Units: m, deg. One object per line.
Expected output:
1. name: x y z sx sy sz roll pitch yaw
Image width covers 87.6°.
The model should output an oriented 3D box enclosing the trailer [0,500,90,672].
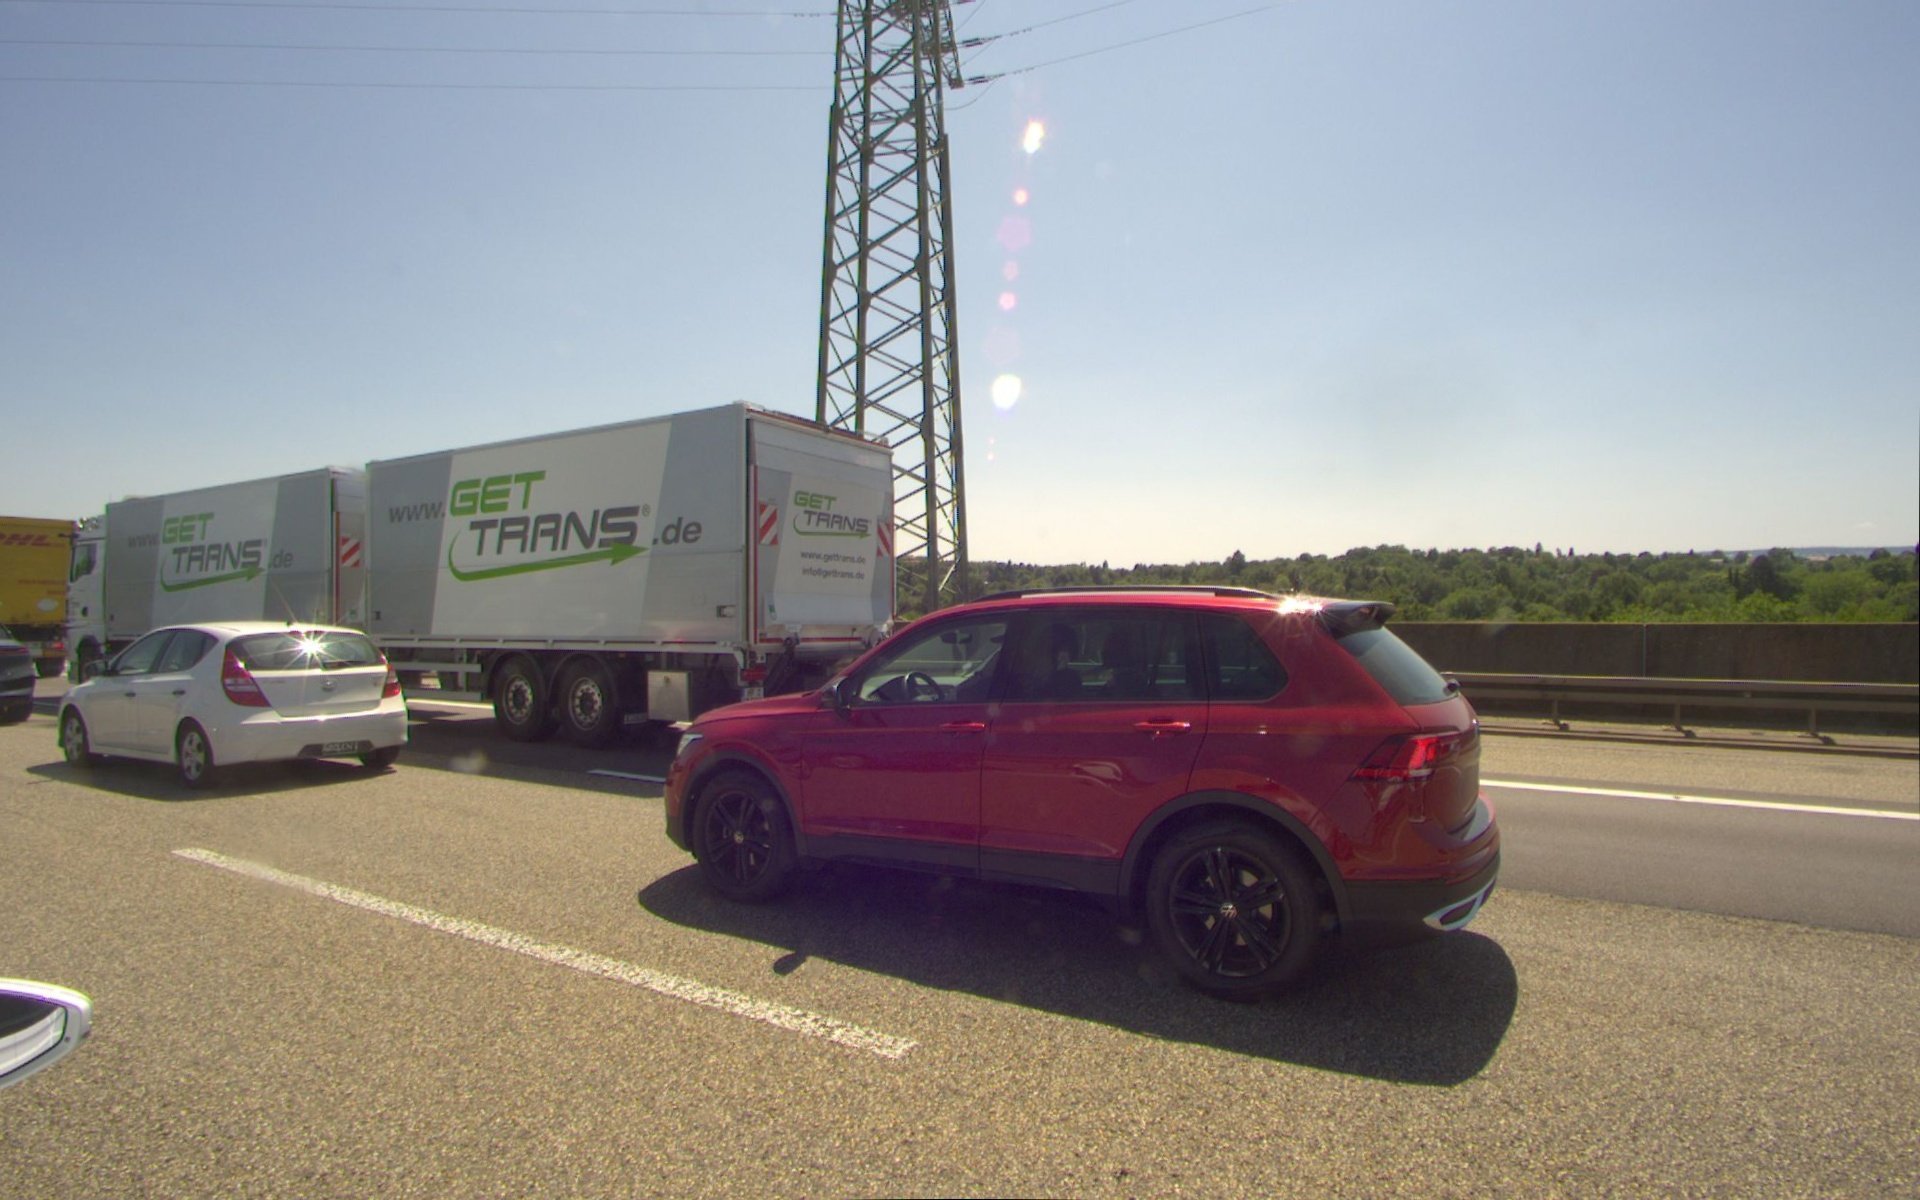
1. trailer: -27.536 -0.265 27.651 8.883 4.293 2.860 -1 -1 32

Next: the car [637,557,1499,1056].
1. car: 0.414 0.732 5.246 4.163 1.683 1.772 -1 -1 32

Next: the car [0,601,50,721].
1. car: -15.394 0.861 14.718 4.231 1.666 1.958 -1 -1 32

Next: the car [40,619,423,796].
1. car: -7.599 0.943 10.344 4.231 1.474 1.785 -1 -1 32

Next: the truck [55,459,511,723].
1. truck: -12.589 -0.065 18.035 10.851 3.696 2.652 0 0 32

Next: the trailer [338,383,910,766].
1. trailer: -4.644 -0.202 13.047 7.899 3.749 2.693 0 0 32
